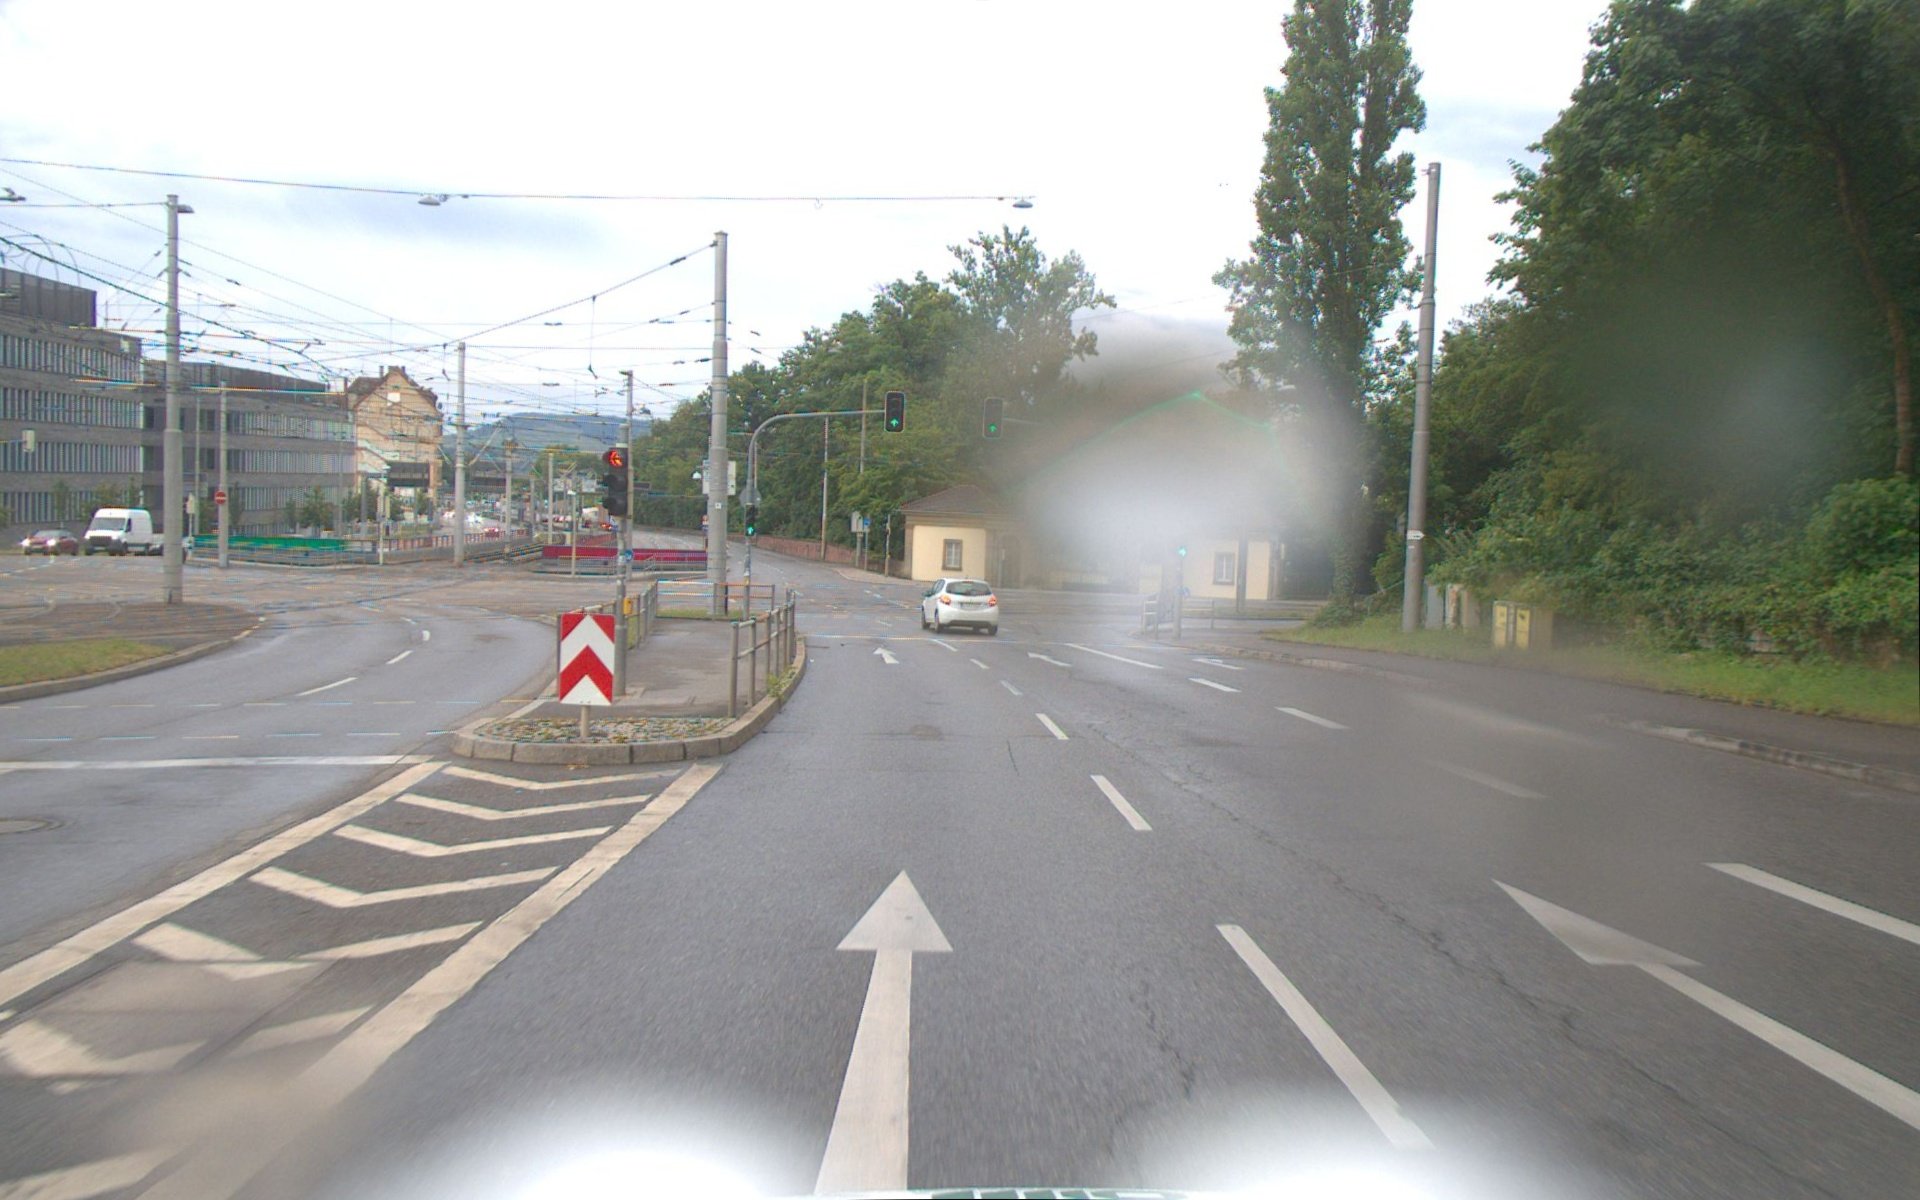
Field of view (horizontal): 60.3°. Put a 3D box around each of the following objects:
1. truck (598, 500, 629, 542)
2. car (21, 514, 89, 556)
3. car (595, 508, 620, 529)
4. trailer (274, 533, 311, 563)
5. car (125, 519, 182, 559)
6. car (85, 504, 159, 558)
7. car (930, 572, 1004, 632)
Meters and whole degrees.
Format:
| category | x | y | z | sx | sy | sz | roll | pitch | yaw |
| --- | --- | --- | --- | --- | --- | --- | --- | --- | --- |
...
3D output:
| category | x | y | z | sx | sy | sz | roll | pitch | yaw |
| --- | --- | --- | --- | --- | --- | --- | --- | --- | --- |
| truck | -50.711 | -11.481 | 241.841 | 3.409 | 5.495 | 11.997 | 1 | -1 | -16 |
| car | -49.859 | -3.573 | 91.185 | 1.957 | 2.190 | 4.239 | 0 | 1 | -9 |
| car | -34.028 | -7.866 | 159.744 | 1.962 | 1.905 | 3.981 | 0 | 2 | -18 |
| trailer | -52.041 | -4.056 | 129.011 | 1.792 | 2.110 | 4.264 | 1 | -1 | -10 |
| car | -49.450 | -3.703 | 101.489 | 1.957 | 2.191 | 4.238 | 0 | -2 | -9 |
| car | -46.476 | -3.842 | 91.859 | 1.957 | 2.880 | 5.707 | -1 | 2 | -9 |
| car | 0.183 | 0.073 | 45.273 | 1.915 | 1.514 | 4.000 | 1 | -1 | 0 |
